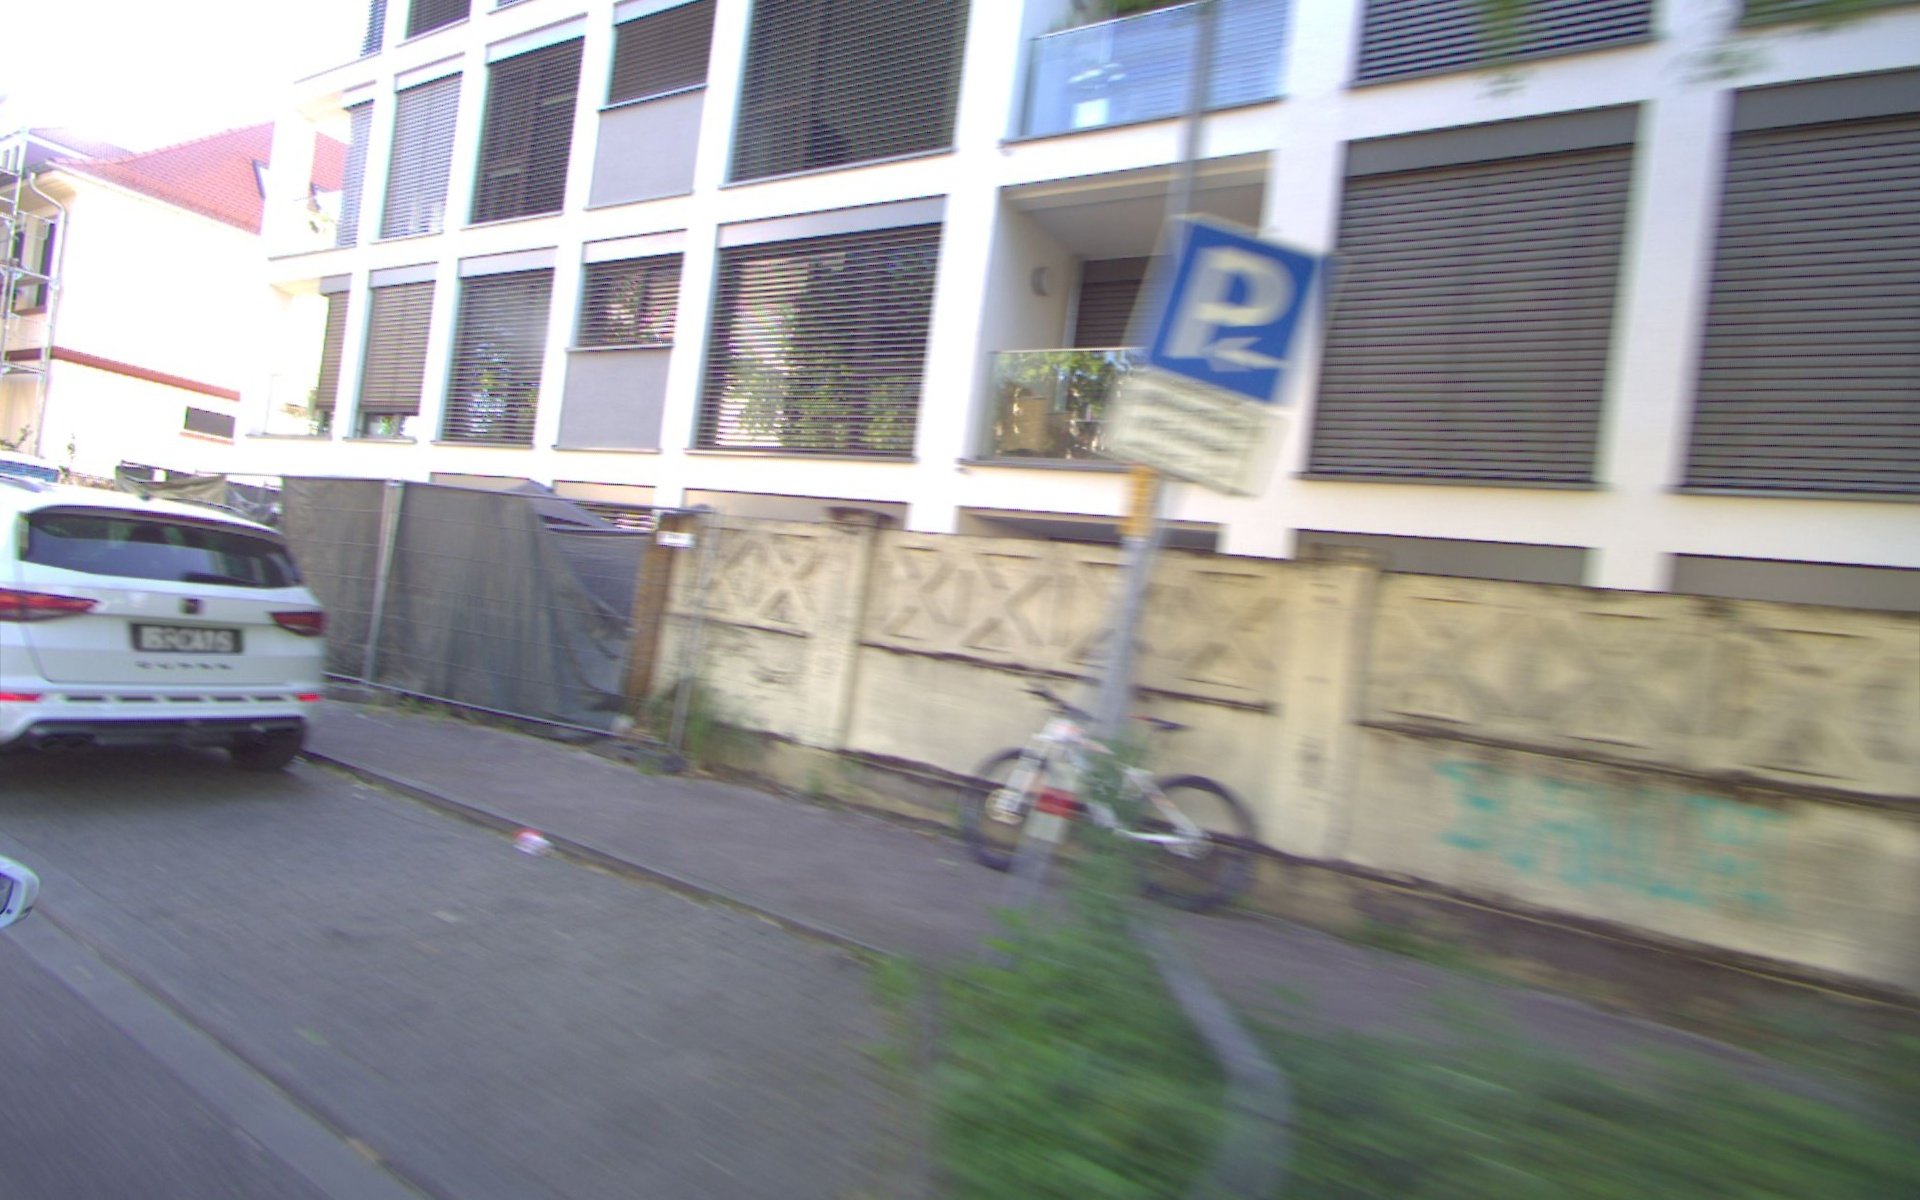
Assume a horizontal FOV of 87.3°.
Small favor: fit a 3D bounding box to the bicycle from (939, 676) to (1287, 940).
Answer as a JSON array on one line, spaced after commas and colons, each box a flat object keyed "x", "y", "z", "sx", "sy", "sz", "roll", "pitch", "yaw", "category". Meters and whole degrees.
[{"x": 0.792, "y": 1.077, "z": 5.582, "sx": 1.800, "sy": 1.053, "sz": 0.337, "roll": 7, "pitch": -1, "yaw": 32, "category": "bicycle"}]

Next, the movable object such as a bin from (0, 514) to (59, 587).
[{"x": -14.795, "y": -0.778, "z": 15.910, "sx": 0.555, "sy": 1.039, "sz": 0.598, "roll": 7, "pitch": -2, "yaw": 35, "category": "movable object such as a bin"}]

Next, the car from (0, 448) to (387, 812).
[{"x": -5.669, "y": 0.007, "z": 6.191, "sx": 4.057, "sy": 1.634, "sz": 1.797, "roll": 7, "pitch": -2, "yaw": 30, "category": "car"}]
